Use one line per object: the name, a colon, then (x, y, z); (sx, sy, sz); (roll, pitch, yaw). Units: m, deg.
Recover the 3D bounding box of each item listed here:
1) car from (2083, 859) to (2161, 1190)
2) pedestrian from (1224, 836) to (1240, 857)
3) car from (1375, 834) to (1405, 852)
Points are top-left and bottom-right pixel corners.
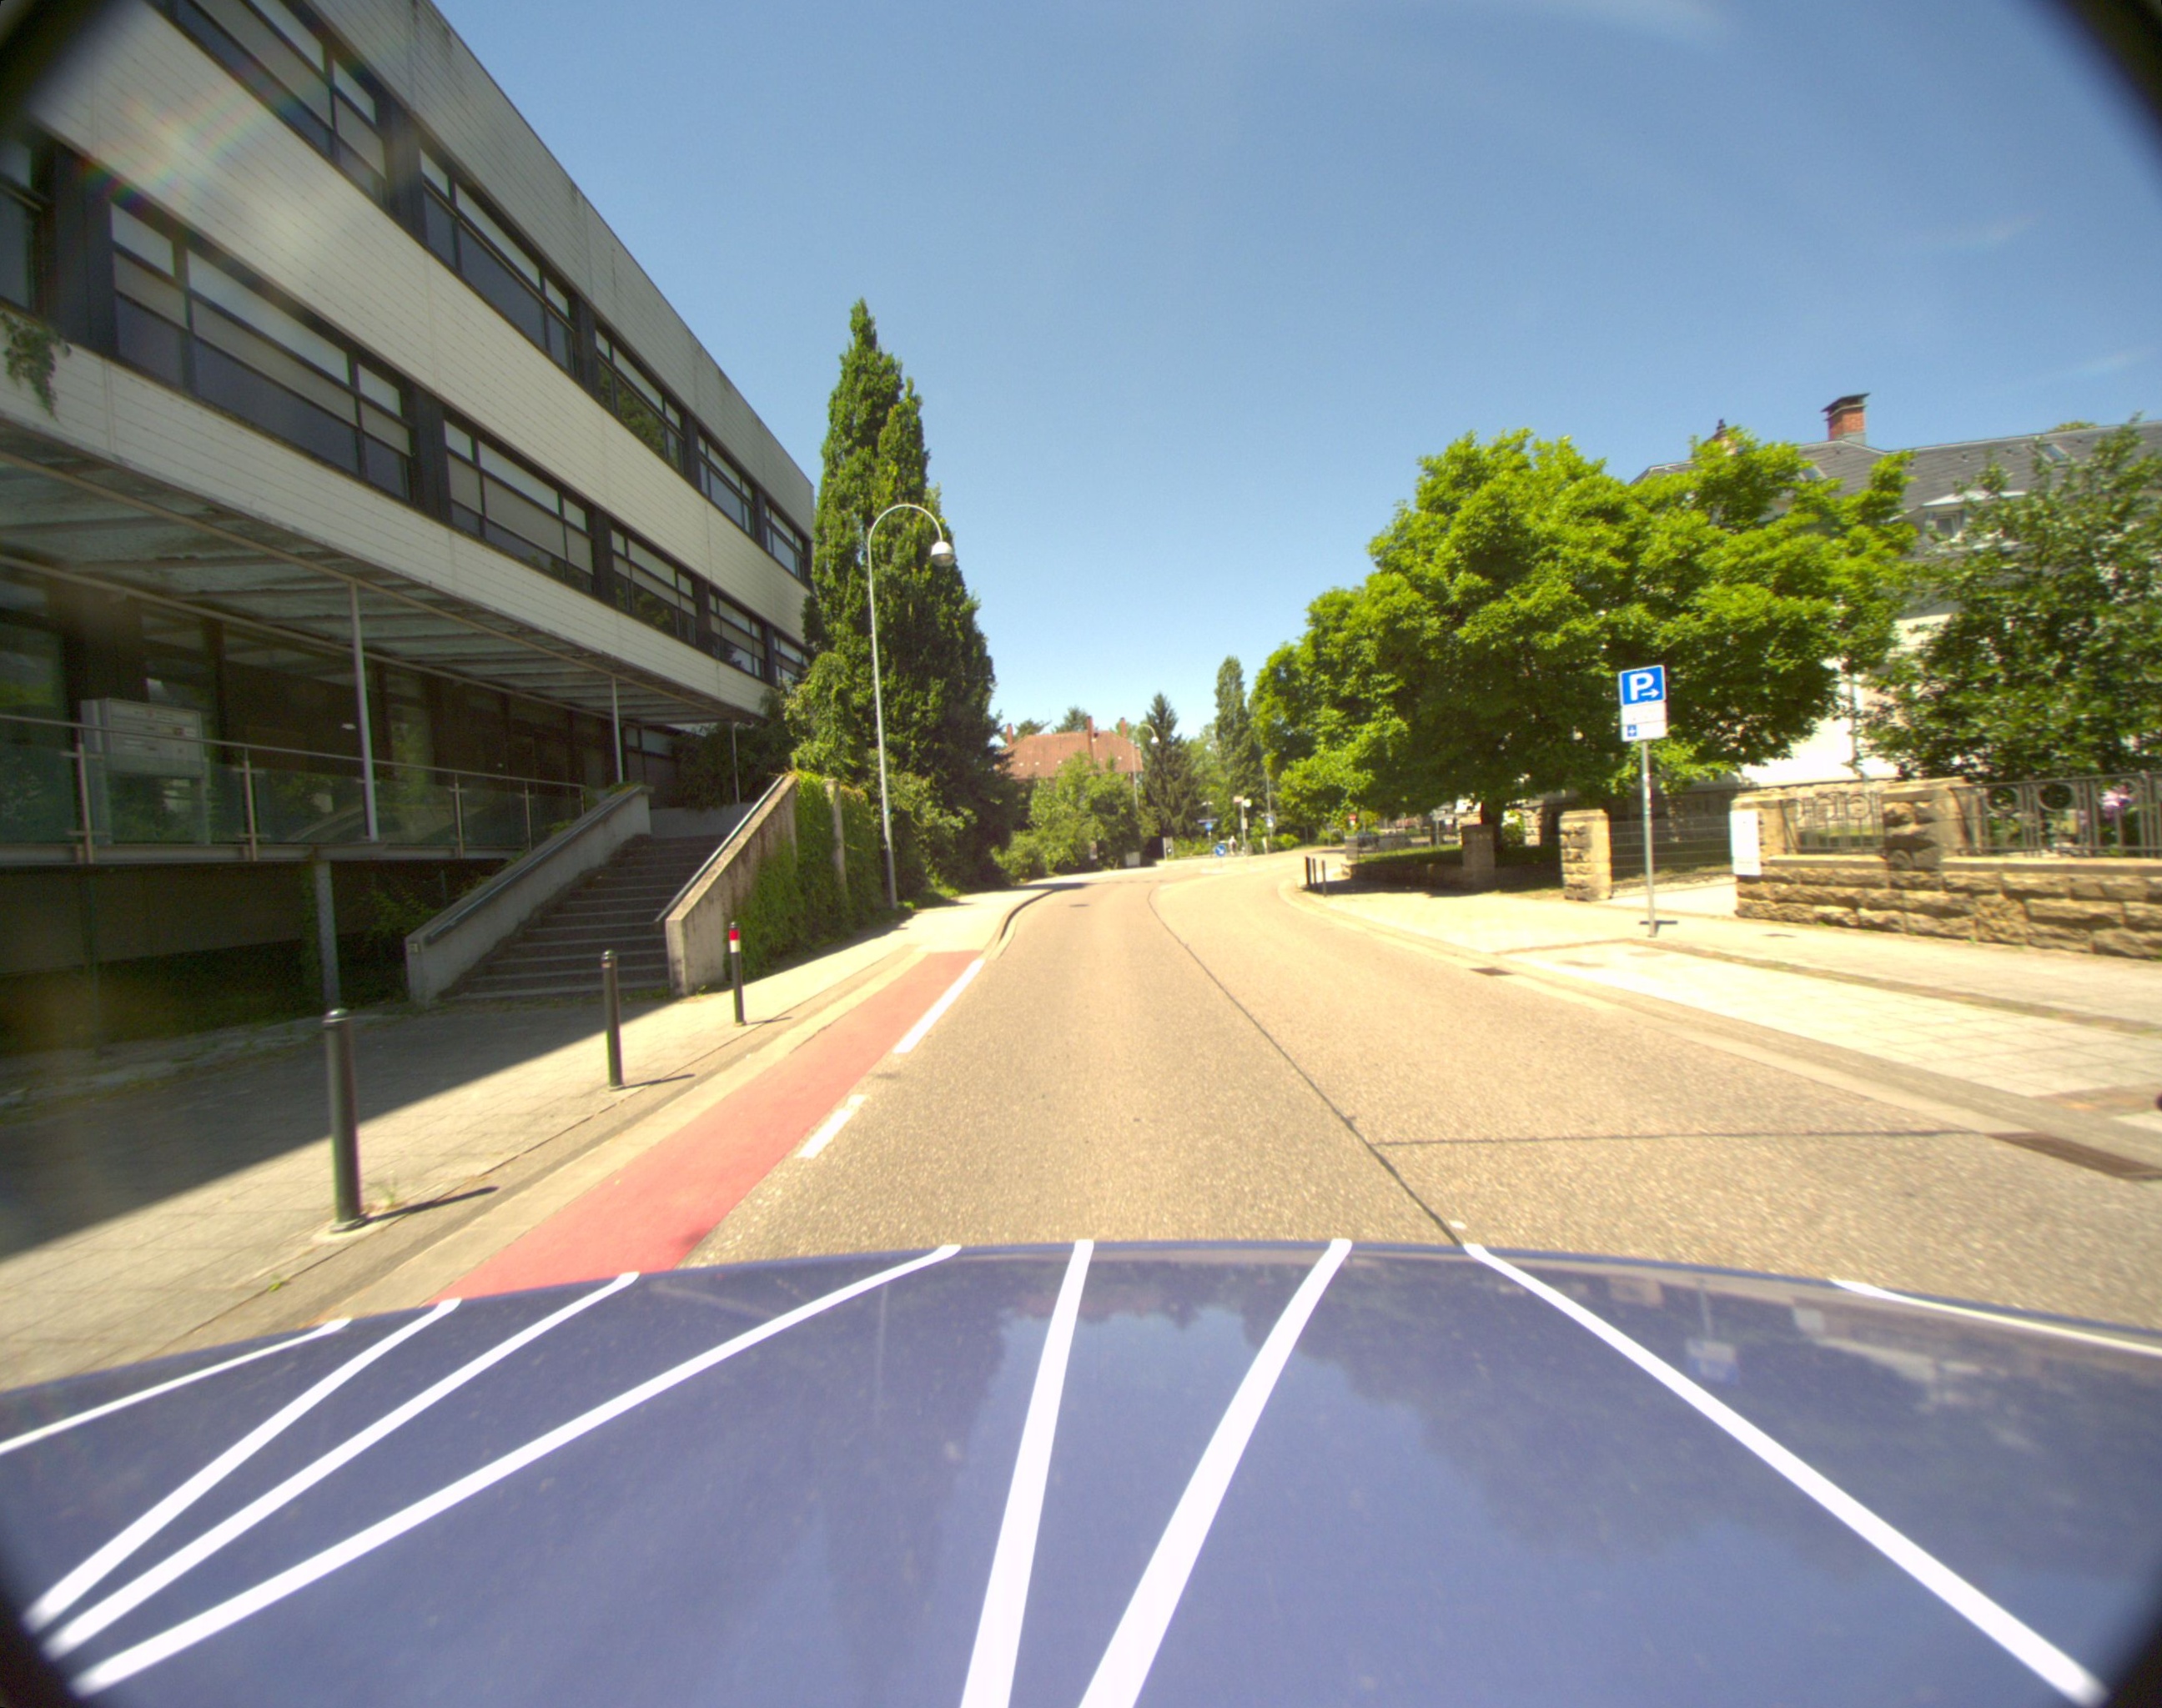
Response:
car: (5.608, 0.696, 1.175); (1.930, 1.428, 4.659); (-6, 0, 1)
pedestrian: (12.851, -0.661, 64.574); (0.917, 1.762, 0.912); (-4, 3, -40)
car: (25.526, -0.929, 62.705); (1.759, 1.427, 4.311); (-1, 1, 30)
